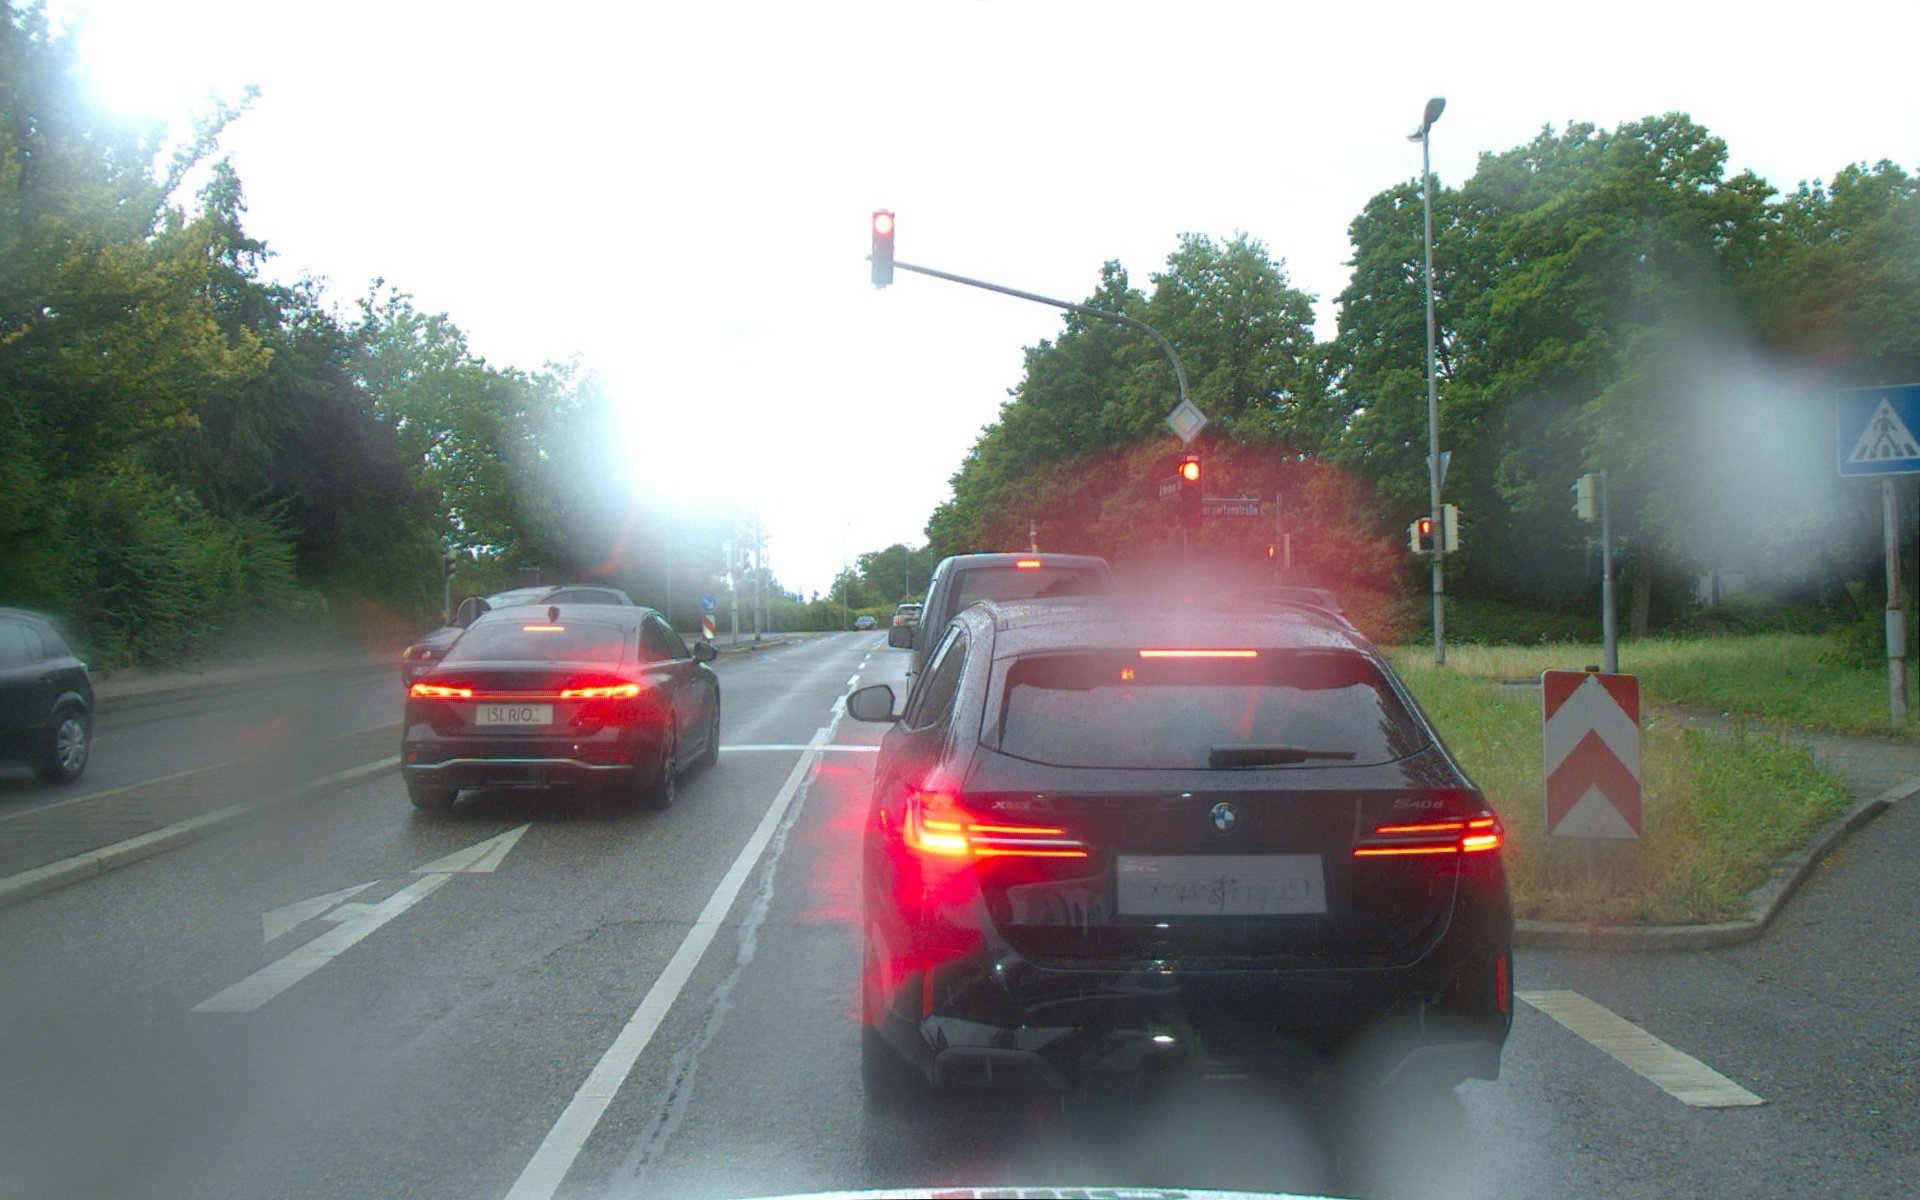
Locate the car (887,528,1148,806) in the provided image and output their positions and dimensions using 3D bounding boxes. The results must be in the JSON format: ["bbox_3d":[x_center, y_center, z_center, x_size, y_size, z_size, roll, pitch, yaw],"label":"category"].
[{"bbox_3d":[0.387,0.469,13.341,1.781,1.901,3.952,0,0,0],"label":"car"}]

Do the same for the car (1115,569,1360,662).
[{"bbox_3d":[5.769,0.306,34.548,4.623,1.747,1.993,-2,0,-14],"label":"car"}]

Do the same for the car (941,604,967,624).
[{"bbox_3d":[-0.537,1.247,148.359,1.952,1.652,3.954,-2,0,4],"label":"car"}]

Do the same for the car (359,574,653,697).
[{"bbox_3d":[-6.732,0.490,24.874,1.714,1.630,4.015,-2,0,37],"label":"car"}]

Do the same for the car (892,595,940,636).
[{"bbox_3d":[-1.703,0.598,63.218,1.664,1.452,3.511,-2,0,-4],"label":"car"}]

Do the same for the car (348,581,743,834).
[{"bbox_3d":[-2.966,0.704,12.880,1.953,1.554,4.327,-2,0,0],"label":"car"}]

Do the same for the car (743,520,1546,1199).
[{"bbox_3d":[0.535,0.640,6.168,1.858,1.578,4.616,1,-1,3],"label":"car"}]

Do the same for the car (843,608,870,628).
[{"bbox_3d":[-9.882,1.709,158.042,1.951,1.858,4.002,-2,-1,6],"label":"car"}]

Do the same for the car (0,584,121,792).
[{"bbox_3d":[-8.016,0.681,11.947,1.857,1.535,3.999,-2,0,-1],"label":"car"}]

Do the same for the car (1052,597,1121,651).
[{"bbox_3d":[3.974,0.735,52.459,1.835,1.569,3.952,-2,0,0],"label":"car"}]
